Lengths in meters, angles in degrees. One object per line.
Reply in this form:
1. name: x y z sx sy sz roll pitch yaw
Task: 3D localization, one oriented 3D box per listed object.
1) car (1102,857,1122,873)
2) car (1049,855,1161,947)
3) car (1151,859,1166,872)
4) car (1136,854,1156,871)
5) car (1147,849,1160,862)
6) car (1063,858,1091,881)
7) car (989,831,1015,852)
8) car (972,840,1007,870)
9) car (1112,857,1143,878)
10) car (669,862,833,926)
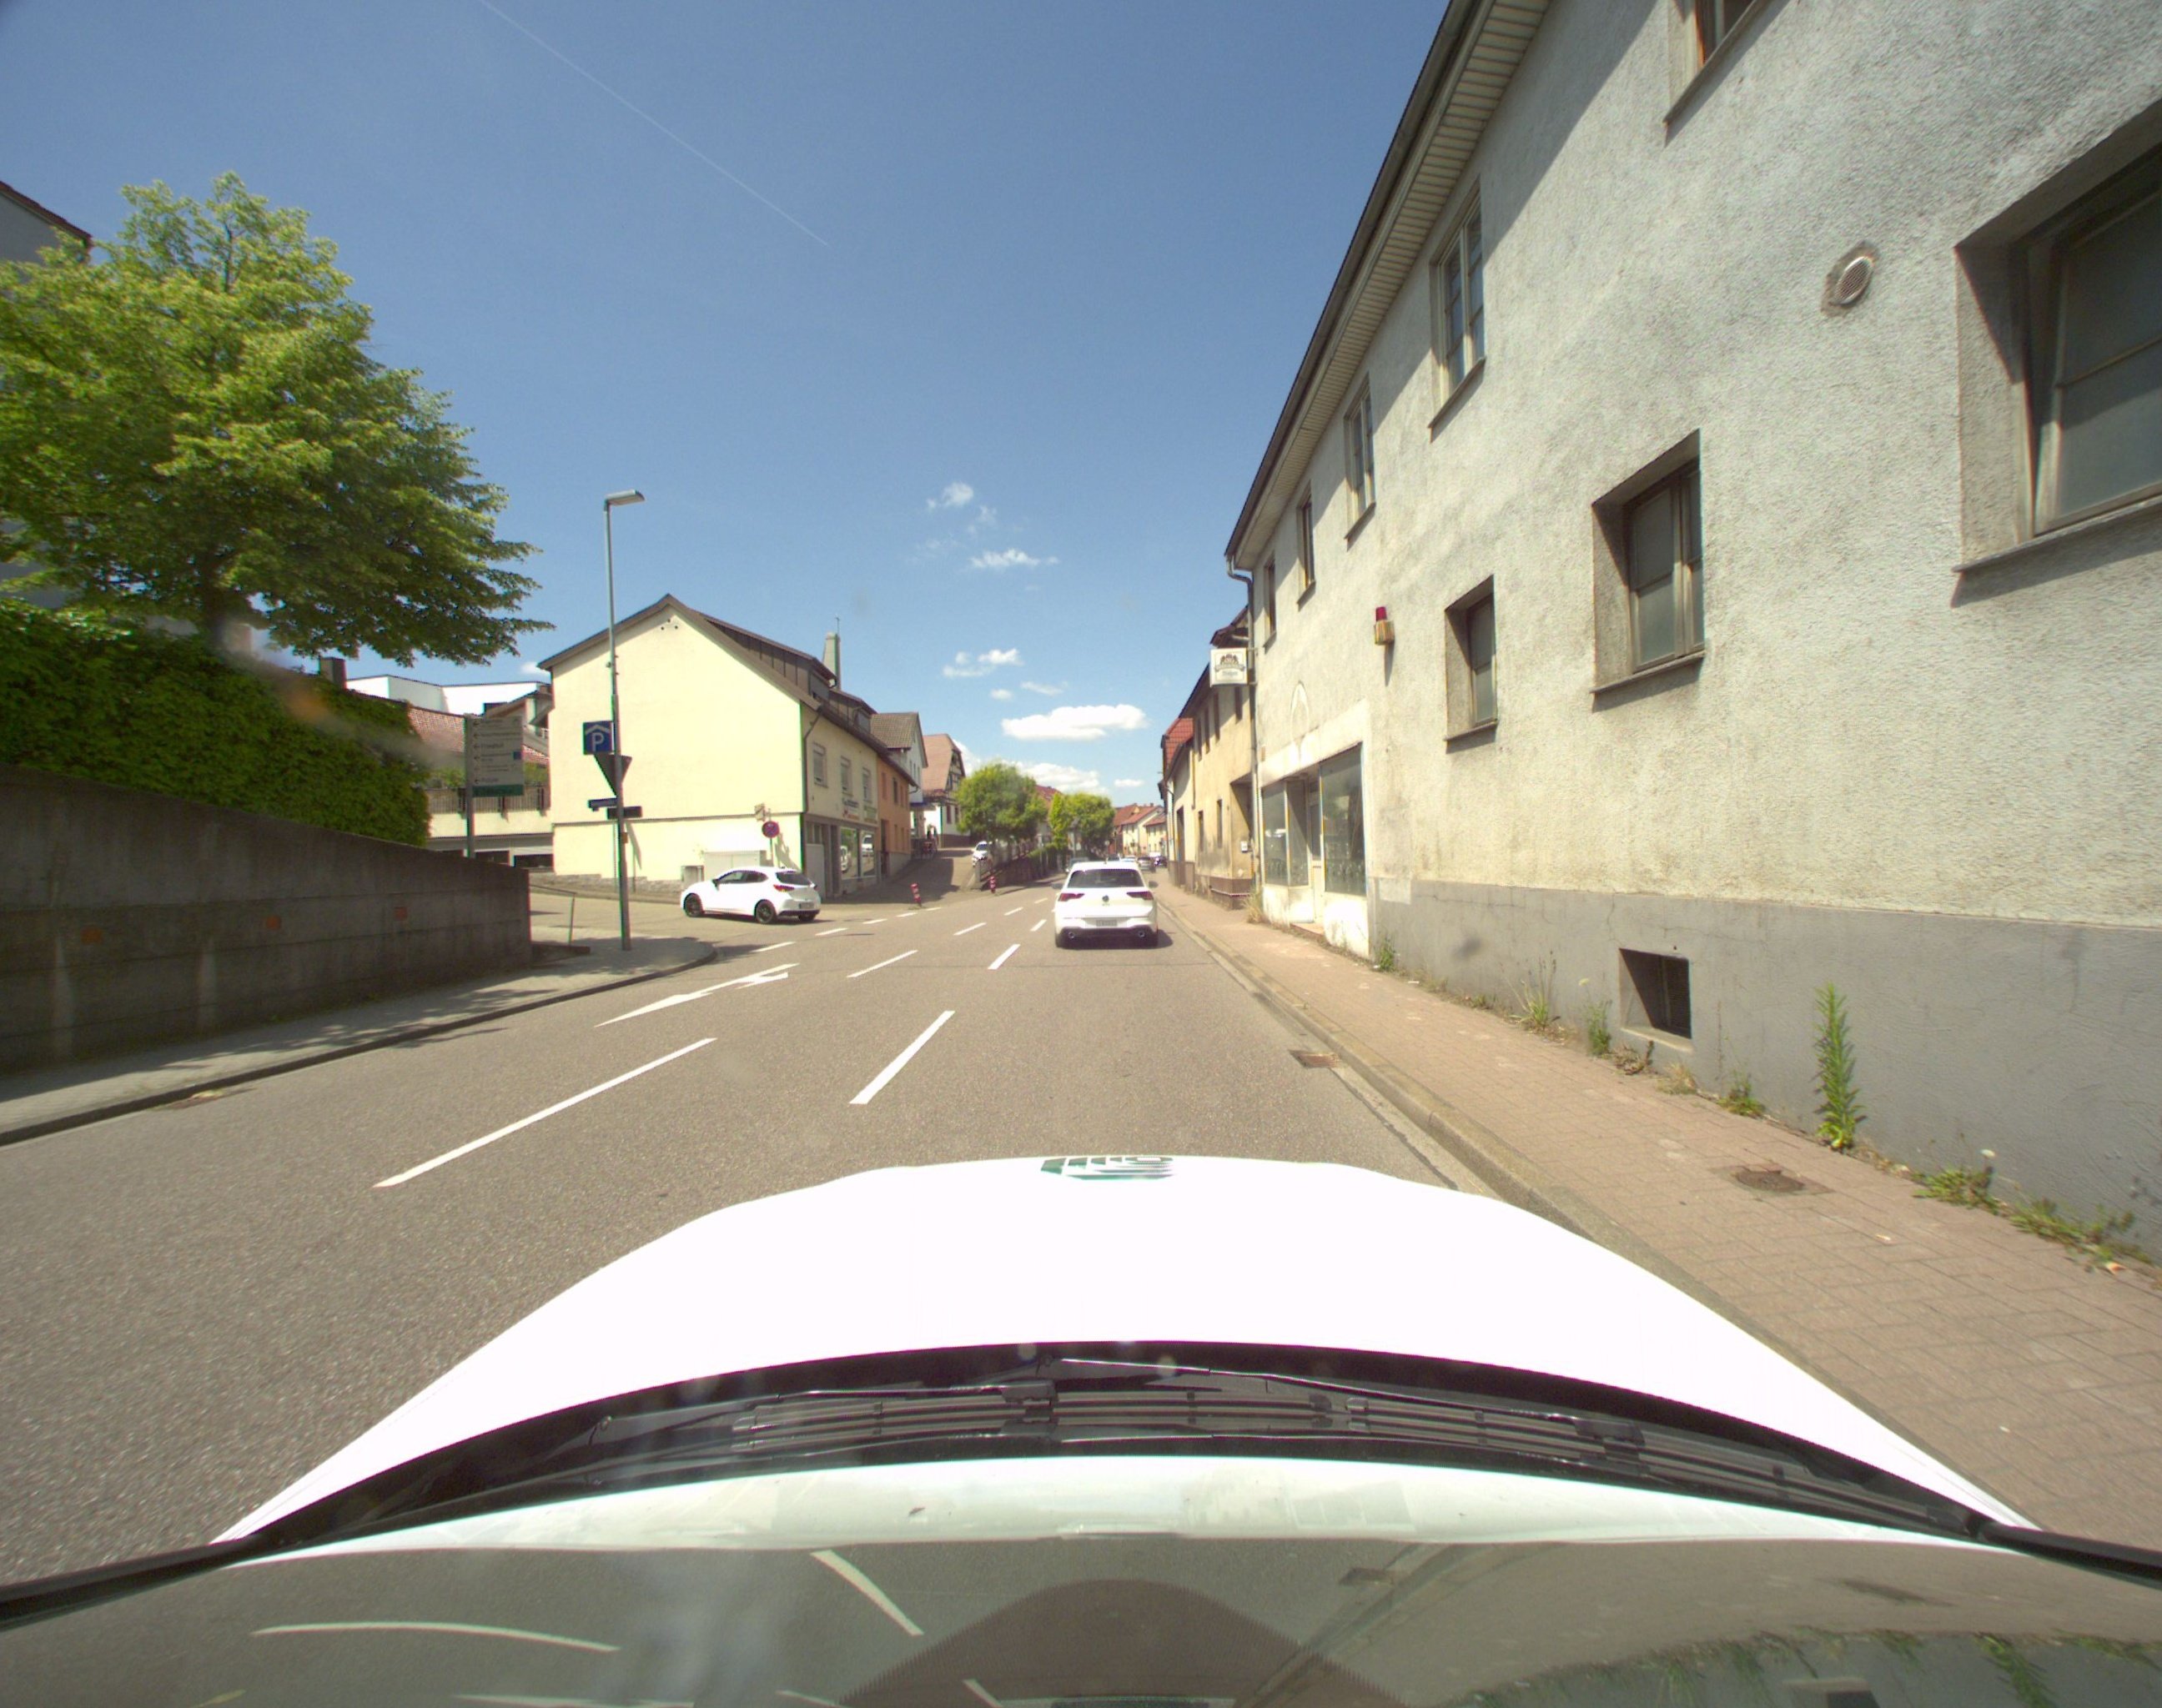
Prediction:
1. car: 3.297 1.132 85.749 1.834 1.580 4.451 -3 0 5
2. car: 0.516 0.770 15.096 1.800 1.467 4.004 0 -1 4
3. car: 9.498 1.424 100.302 1.767 1.538 4.006 -2 0 5
4. car: 6.096 0.802 76.449 1.768 1.538 4.004 -2 0 3
5. car: 10.298 0.234 115.725 1.766 1.765 4.007 -2 0 6
6. car: -0.248 1.137 61.759 1.750 1.635 4.054 -2 0 4
7. car: -6.318 -0.998 65.247 1.571 1.361 3.859 -1 5 1
8. car: -5.888 0.042 52.979 1.687 1.542 3.859 -1 5 1
9. car: 3.355 0.956 58.045 1.797 1.467 4.010 0 -1 9
10. car: -9.022 1.036 22.275 3.952 1.467 1.824 2 0 23
